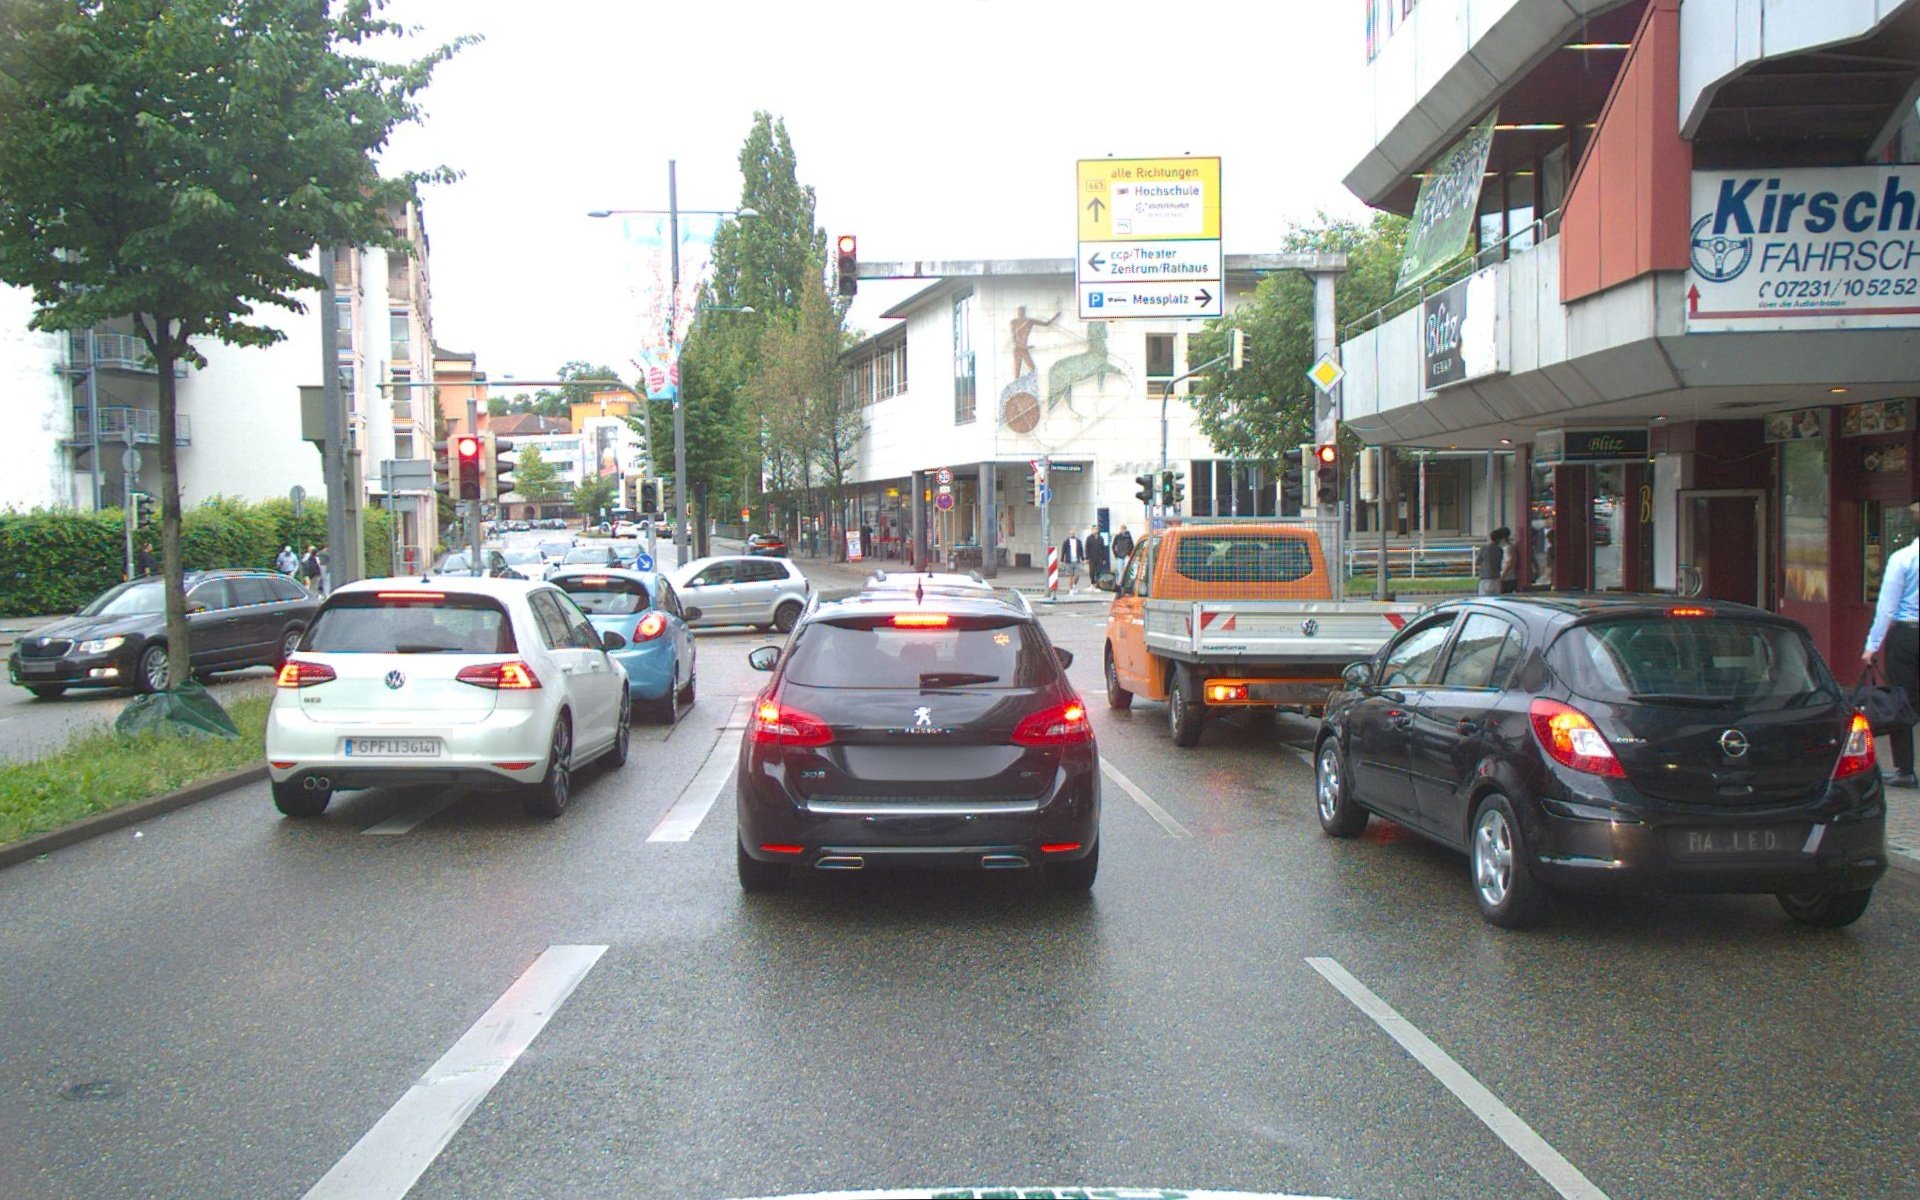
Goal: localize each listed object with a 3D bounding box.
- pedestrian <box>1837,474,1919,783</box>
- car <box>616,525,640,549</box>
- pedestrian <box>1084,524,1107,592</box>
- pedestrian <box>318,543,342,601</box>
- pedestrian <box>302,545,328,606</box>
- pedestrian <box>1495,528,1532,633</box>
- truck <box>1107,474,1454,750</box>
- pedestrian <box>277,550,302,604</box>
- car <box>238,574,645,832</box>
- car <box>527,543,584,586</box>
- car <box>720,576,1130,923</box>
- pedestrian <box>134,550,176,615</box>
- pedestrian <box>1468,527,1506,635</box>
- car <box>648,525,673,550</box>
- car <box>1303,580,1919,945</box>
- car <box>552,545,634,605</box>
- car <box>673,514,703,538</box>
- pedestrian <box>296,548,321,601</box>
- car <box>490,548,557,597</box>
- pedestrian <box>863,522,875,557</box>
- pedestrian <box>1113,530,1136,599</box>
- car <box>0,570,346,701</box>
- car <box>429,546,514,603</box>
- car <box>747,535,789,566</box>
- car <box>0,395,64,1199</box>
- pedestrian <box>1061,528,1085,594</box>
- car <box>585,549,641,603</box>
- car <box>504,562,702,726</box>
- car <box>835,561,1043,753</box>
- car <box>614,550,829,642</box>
[{"bbox_3d":[6.300,0.188,10.879,0.721,1.968,0.640,1,-1,-1],"label":"pedestrian"},{"bbox_3d":[-29.237,-5.556,145.658,1.679,1.915,3.980,1,-1,-18],"label":"car"},{"bbox_3d":[3.892,-1.205,47.585,0.623,1.930,0.734,1,-1,6],"label":"pedestrian"},{"bbox_3d":[-19.499,-0.853,51.219,0.528,1.778,0.564,1,-1,-6],"label":"pedestrian"},{"bbox_3d":[-19.367,-0.730,49.669,0.529,1.778,0.746,1,-1,-9],"label":"pedestrian"},{"bbox_3d":[8.953,-0.314,26.762,0.388,1.668,0.504,-1,-1,0],"label":"pedestrian"},{"bbox_3d":[2.829,0.034,15.941,2.133,2.210,5.018,1,2,-3],"label":"truck"},{"bbox_3d":[-20.461,-0.704,50.460,0.569,1.627,0.526,1,-1,-7],"label":"pedestrian"},{"bbox_3d":[-3.326,0.561,11.379,1.742,1.454,3.840,1,1,-3],"label":"car"},{"bbox_3d":[-14.887,-1.314,60.974,1.602,1.512,3.605,1,2,-7],"label":"car"},{"bbox_3d":[-0.150,0.613,8.996,1.741,1.454,3.842,1,1,0],"label":"car"},{"bbox_3d":[-21.122,-0.456,43.411,0.623,1.671,0.734,0,-1,17],"label":"pedestrian"},{"bbox_3d":[8.423,-0.299,26.443,0.417,1.712,0.450,-1,-1,-2],"label":"pedestrian"},{"bbox_3d":[-26.611,-5.536,146.852,1.679,1.970,3.980,1,-1,-18],"label":"car"},{"bbox_3d":[3.104,0.647,8.681,1.584,1.454,3.839,1,1,-4],"label":"car"},{"bbox_3d":[-10.540,-0.689,47.755,1.710,1.607,3.996,1,-1,-4],"label":"car"},{"bbox_3d":[-20.498,-5.536,124.389,1.697,1.516,4.712,1,-1,-16],"label":"car"},{"bbox_3d":[-20.392,-0.797,51.769,0.569,1.627,0.526,1,-1,-7],"label":"pedestrian"},{"bbox_3d":[-14.130,-0.914,53.715,1.602,1.512,3.605,1,2,-7],"label":"car"},{"bbox_3d":[-4.593,-3.062,83.706,0.461,1.778,0.537,1,-1,-21],"label":"pedestrian"},{"bbox_3d":[4.692,-0.997,47.158,0.623,1.930,0.734,1,-1,6],"label":"pedestrian"},{"bbox_3d":[-10.306,0.388,21.900,1.598,1.512,4.742,-1,1,15],"label":"car"},{"bbox_3d":[-13.778,-0.745,46.806,1.543,1.512,3.607,1,2,-4],"label":"car"},{"bbox_3d":[-9.965,-2.586,85.816,1.755,1.479,4.495,-3,3,-11],"label":"car"},{"bbox_3d":[-3.037,0.447,1.419,1.873,1.903,5.071,1,-1,-2],"label":"car"},{"bbox_3d":[3.144,-1.071,45.800,0.623,1.788,0.734,1,-1,6],"label":"pedestrian"},{"bbox_3d":[-11.464,-0.749,54.778,1.713,1.669,3.989,1,-1,-11],"label":"car"},{"bbox_3d":[-3.642,0.379,17.382,1.601,1.512,3.606,1,2,-6],"label":"car"},{"bbox_3d":[-0.199,0.419,15.234,1.662,1.512,3.793,1,2,-1],"label":"car"},{"bbox_3d":[-4.527,-0.078,31.457,3.695,1.494,1.624,-3,-1,-26],"label":"car"}]
